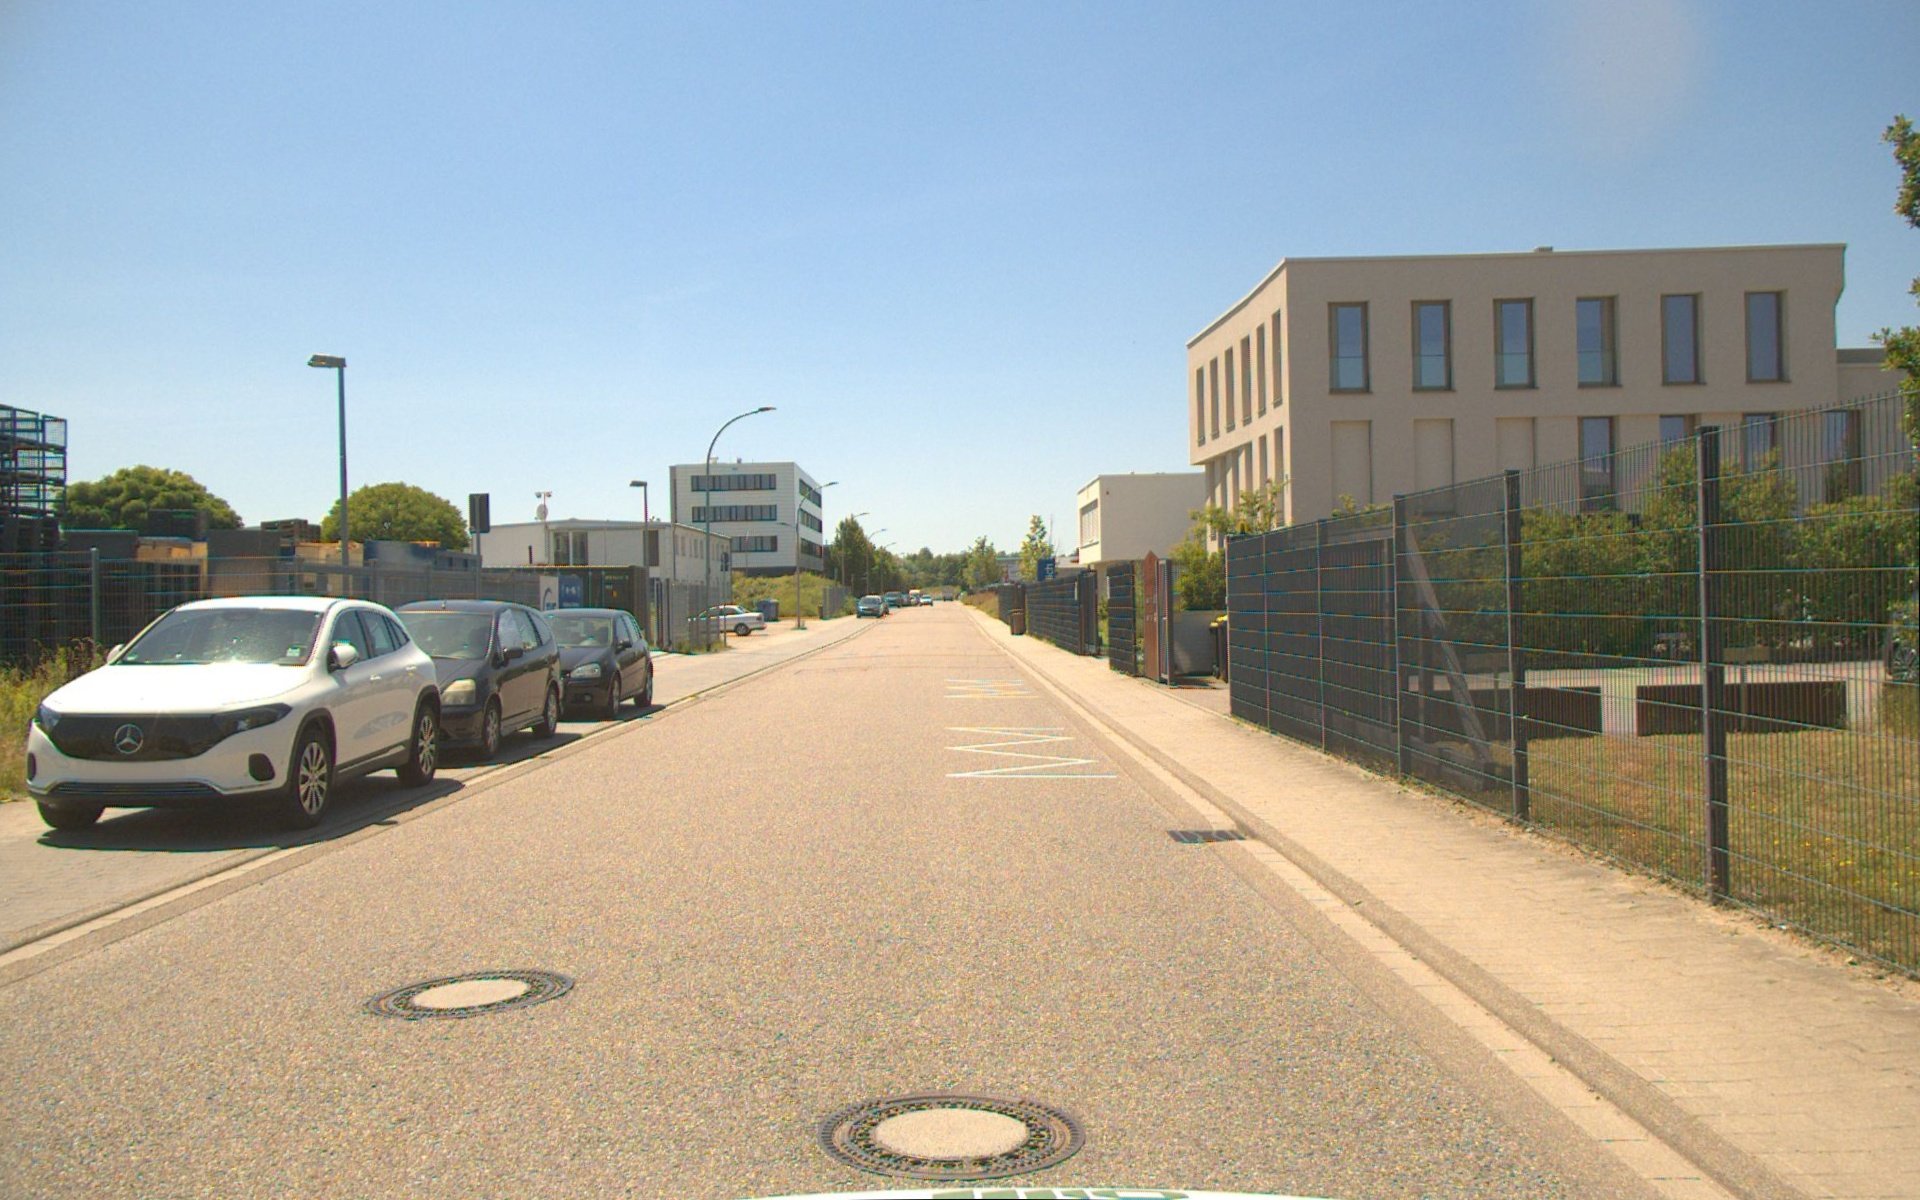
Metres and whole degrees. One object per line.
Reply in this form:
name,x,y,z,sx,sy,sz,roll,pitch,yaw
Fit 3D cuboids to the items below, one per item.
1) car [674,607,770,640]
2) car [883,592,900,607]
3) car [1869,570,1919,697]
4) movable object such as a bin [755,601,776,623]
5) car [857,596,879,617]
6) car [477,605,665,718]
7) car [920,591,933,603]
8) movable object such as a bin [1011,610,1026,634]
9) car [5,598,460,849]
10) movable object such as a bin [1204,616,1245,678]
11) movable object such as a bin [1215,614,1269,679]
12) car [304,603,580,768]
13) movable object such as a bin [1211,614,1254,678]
car,-11.113,1.088,77.422,4.190,1.388,1.897,-2,0,-1
car,-7.203,-0.013,173.691,1.611,1.516,3.207,-1,0,0
car,11.914,0.361,18.139,1.621,1.469,3.999,-2,0,-1
movable object such as a bin,-13.203,0.804,112.366,1.260,1.436,1.805,-1,0,-4
car,-6.602,0.450,118.717,1.437,1.516,3.207,-1,0,0
car,-5.524,0.817,24.014,1.733,1.487,4.332,0,0,-1
car,-4.686,-0.367,229.967,1.767,1.584,3.999,-2,0,-1
movable object such as a bin,2.496,0.935,71.008,0.541,0.944,0.522,-5,1,4
car,-5.371,0.803,12.907,1.733,1.620,4.358,0,0,-2
movable object such as a bin,4.682,0.817,29.298,0.532,1.054,0.913,-2,0,-1
movable object such as a bin,4.741,0.772,27.855,0.777,1.054,0.580,-2,0,-1
car,-5.511,0.831,18.195,1.733,1.583,4.500,0,0,-2
movable object such as a bin,4.693,0.787,28.490,0.592,1.054,0.650,-2,0,0
